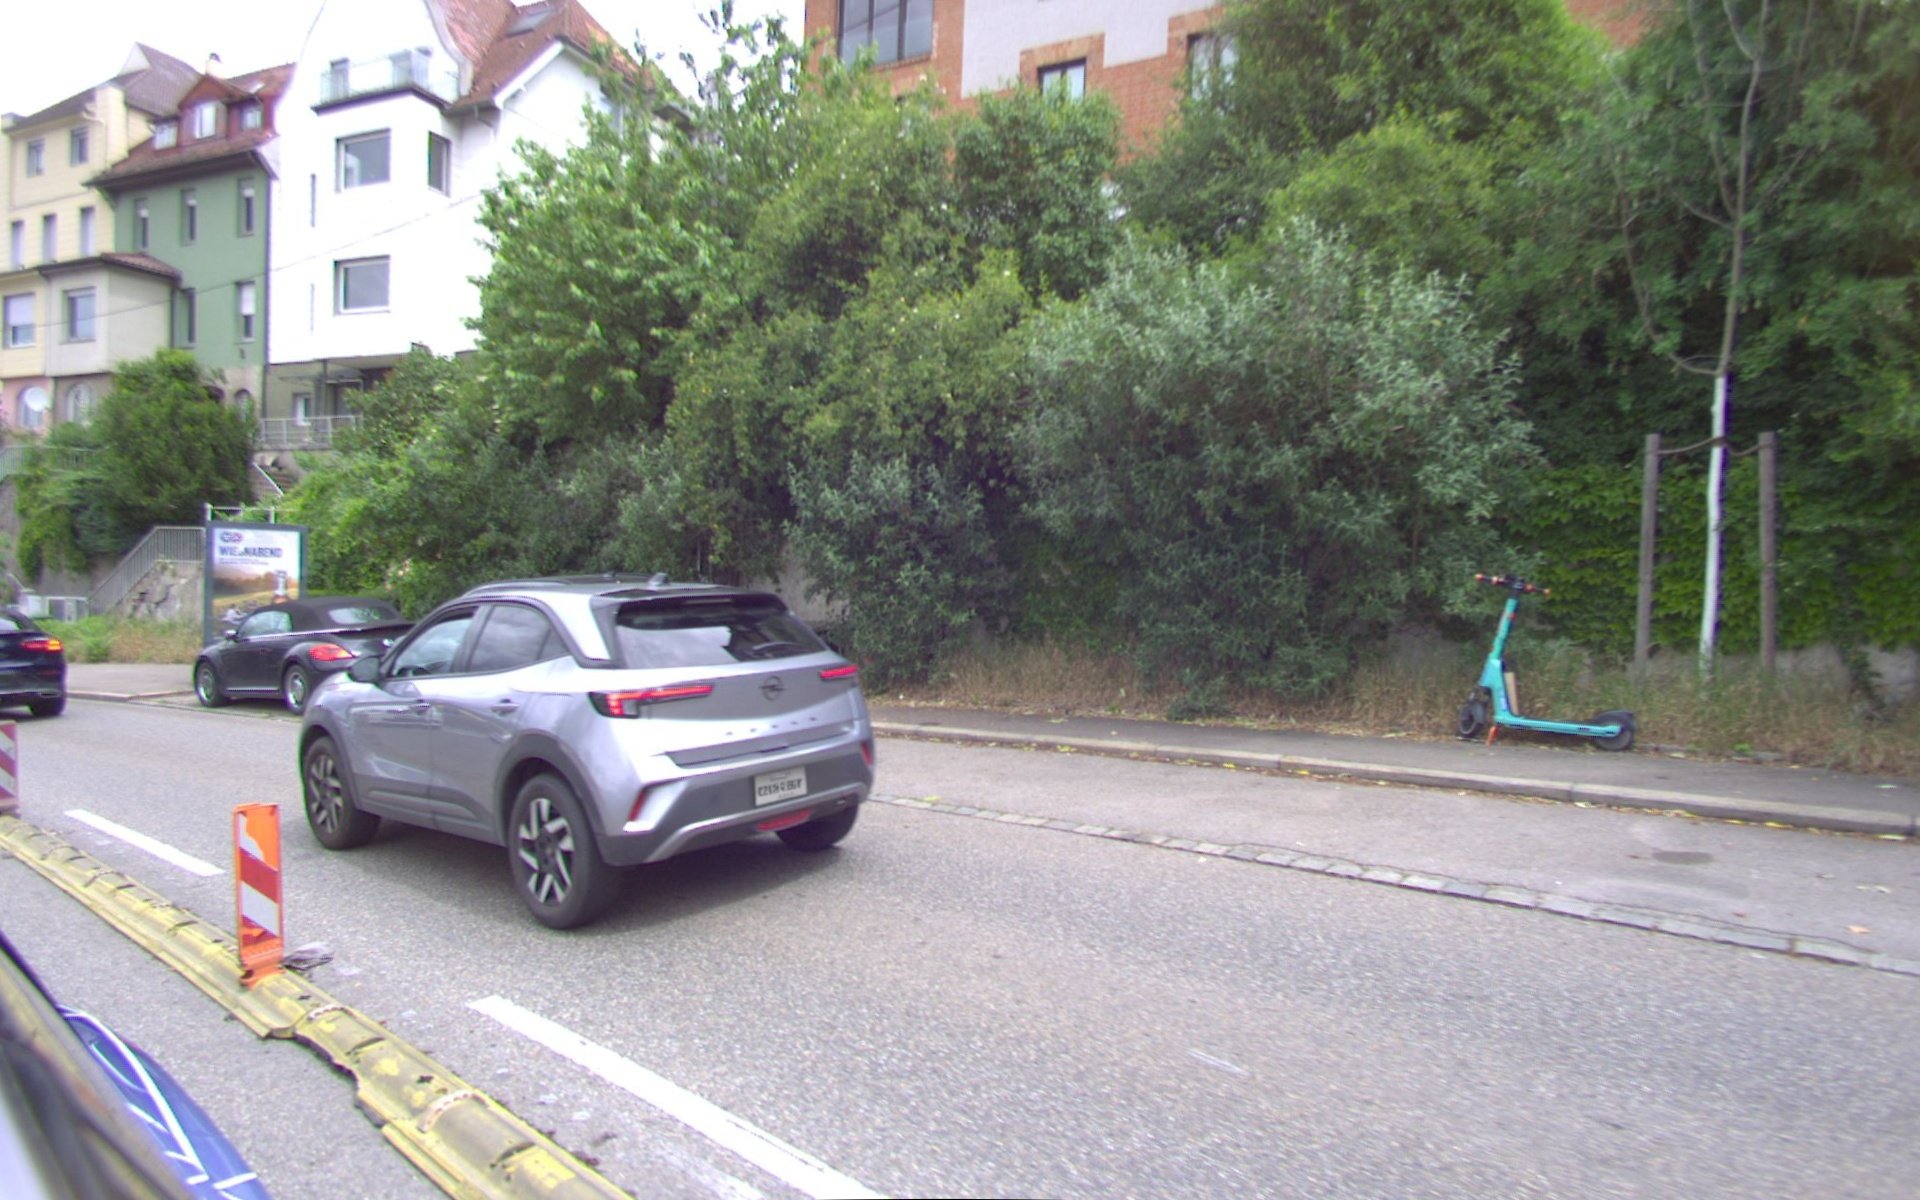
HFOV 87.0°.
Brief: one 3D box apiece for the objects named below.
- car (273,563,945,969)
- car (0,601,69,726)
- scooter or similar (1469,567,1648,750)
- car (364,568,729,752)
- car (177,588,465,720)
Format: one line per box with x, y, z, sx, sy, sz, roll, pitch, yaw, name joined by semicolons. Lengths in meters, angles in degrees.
-2.196;0.644;5.770;4.021;1.529;1.750;-1;0;39;car
-14.142;0.867;13.839;4.214;1.579;1.754;-2;0;31;car
4.255;0.399;7.220;1.044;1.222;0.346;-1;2;36;scooter or similar
-4.601;0.545;11.046;4.177;1.617;1.672;-1;2;36;car
-8.906;0.680;14.044;3.987;1.521;1.781;-1;2;32;car
